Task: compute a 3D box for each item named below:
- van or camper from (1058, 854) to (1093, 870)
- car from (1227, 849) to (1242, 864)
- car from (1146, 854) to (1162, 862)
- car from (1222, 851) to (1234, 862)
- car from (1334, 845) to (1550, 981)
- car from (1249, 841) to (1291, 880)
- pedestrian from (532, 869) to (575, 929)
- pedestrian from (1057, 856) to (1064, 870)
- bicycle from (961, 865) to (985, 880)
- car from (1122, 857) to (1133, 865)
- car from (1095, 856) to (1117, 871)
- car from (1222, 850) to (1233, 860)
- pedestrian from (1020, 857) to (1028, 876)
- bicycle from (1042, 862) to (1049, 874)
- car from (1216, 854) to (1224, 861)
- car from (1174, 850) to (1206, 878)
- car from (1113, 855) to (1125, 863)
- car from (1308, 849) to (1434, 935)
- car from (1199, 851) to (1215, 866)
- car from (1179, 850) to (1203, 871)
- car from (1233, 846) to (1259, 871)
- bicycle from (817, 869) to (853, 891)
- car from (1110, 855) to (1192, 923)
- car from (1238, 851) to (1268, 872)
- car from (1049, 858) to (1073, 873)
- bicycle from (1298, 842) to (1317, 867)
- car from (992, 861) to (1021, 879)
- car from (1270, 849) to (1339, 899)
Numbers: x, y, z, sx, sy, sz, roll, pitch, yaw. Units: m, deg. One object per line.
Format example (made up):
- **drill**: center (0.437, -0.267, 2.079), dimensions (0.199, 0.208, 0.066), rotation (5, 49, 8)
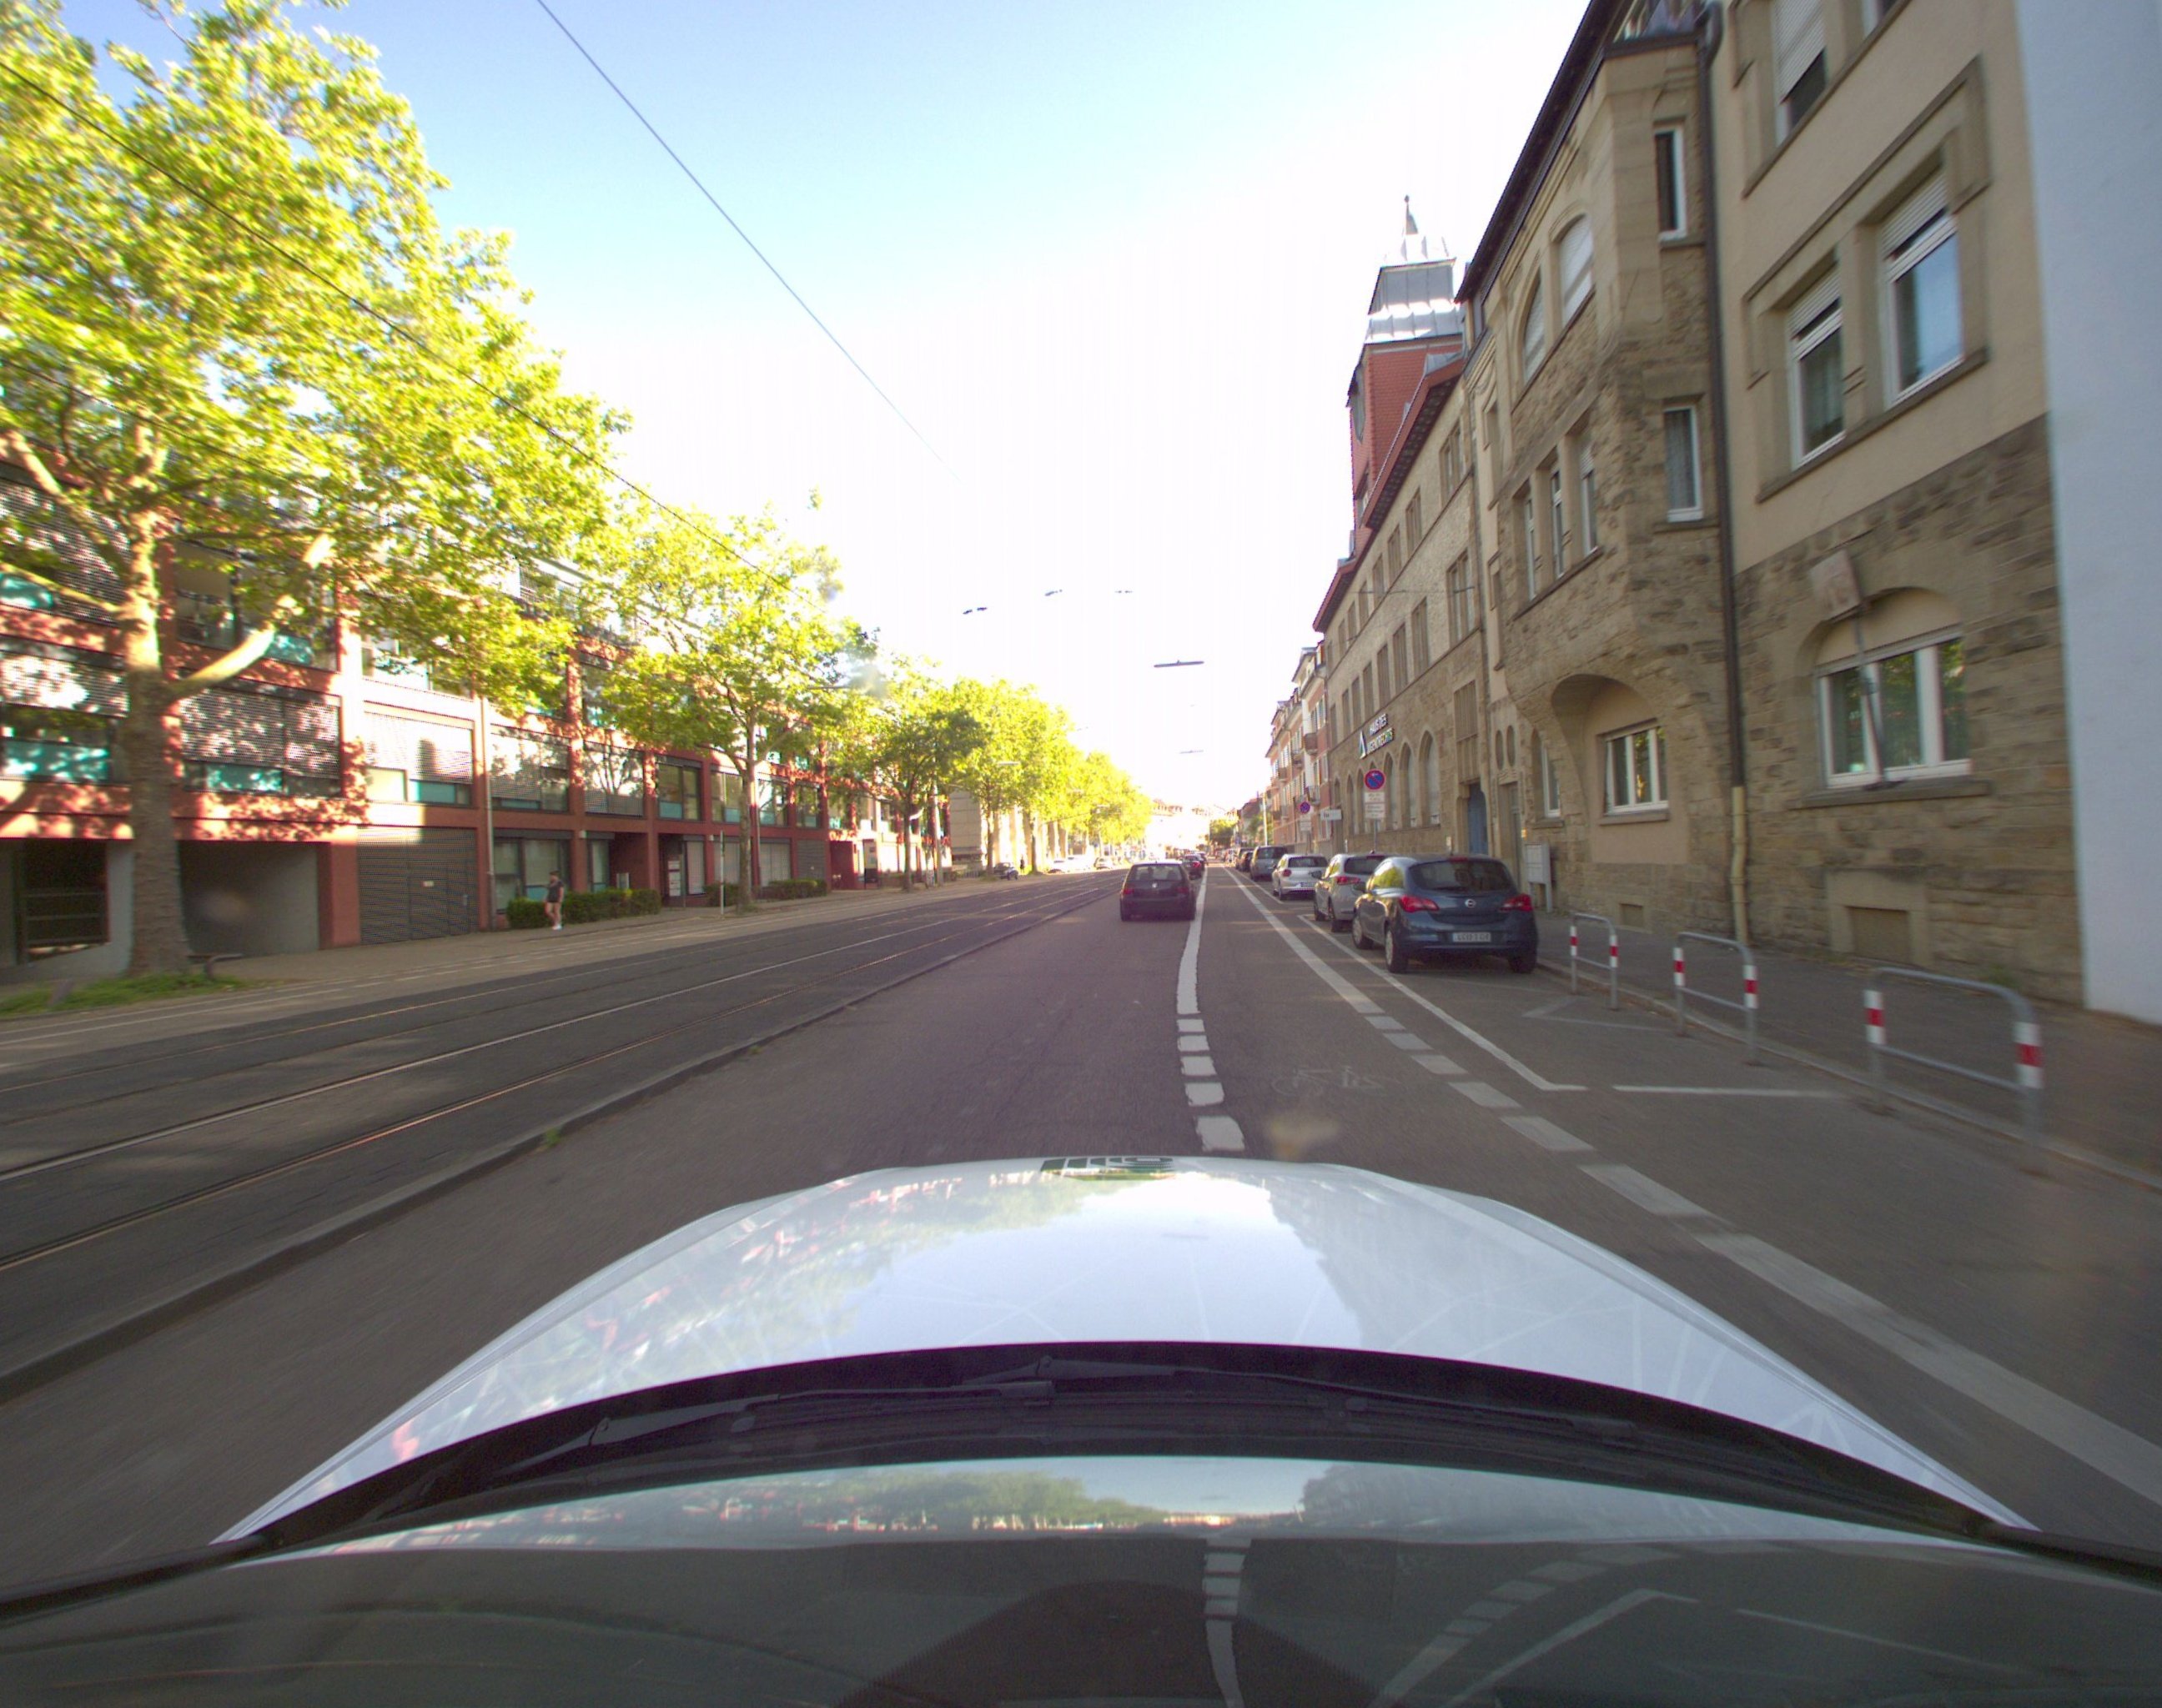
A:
- **van or camper**: center (-0.677, 1.004, 101.493), dimensions (2.041, 1.949, 5.221), rotation (-1, 0, 29)
- **car**: center (19.588, 0.261, 104.250), dimensions (1.748, 1.838, 3.556), rotation (-1, 0, 9)
- **car**: center (18.911, 1.140, 210.030), dimensions (3.967, 2.013, 2.003), rotation (-1, 0, 6)
- **car**: center (22.323, 0.396, 123.868), dimensions (1.651, 1.526, 4.046), rotation (-2, 0, 9)
- **car**: center (4.606, 0.664, 11.034), dimensions (1.645, 1.482, 4.010), rotation (-2, 0, 9)
- **car**: center (9.560, 0.311, 41.499), dimensions (1.742, 1.855, 4.828), rotation (-2, 0, 9)
- **pedestrian**: center (-15.670, 1.312, 24.217), dimensions (0.622, 1.718, 0.902), rotation (-1, 0, 8)
- **pedestrian**: center (-2.727, 1.197, 107.740), dimensions (0.792, 1.820, 0.672), rotation (-1, 0, 9)
- **bicycle**: center (-9.878, 1.698, 74.294), dimensions (1.996, 1.278, 0.666), rotation (-1, 0, 9)
- **car**: center (9.740, 1.496, 170.439), dimensions (1.873, 1.669, 3.813), rotation (-1, 0, 8)
- **car**: center (2.983, 1.131, 97.001), dimensions (1.741, 1.518, 4.086), rotation (-4, -1, 13)
- **car**: center (26.290, 0.163, 146.203), dimensions (1.807, 1.799, 4.010), rotation (-2, 0, 9)
- **pedestrian**: center (-5.715, 1.234, 81.564), dimensions (0.784, 1.870, 0.669), rotation (-1, 0, -6)
- **bicycle**: center (-3.703, 1.493, 85.774), dimensions (0.578, 1.209, 1.655), rotation (-1, 0, 3)
- **car**: center (32.063, 0.757, 187.461), dimensions (1.658, 1.598, 3.659), rotation (-2, 0, 9)
- **car**: center (6.664, 0.578, 49.502), dimensions (1.738, 1.537, 3.902), rotation (-3, 0, 9)
- **car**: center (7.111, 0.859, 151.468), dimensions (1.782, 1.465, 3.845), rotation (0, 0, 9)
- **car**: center (5.693, 0.672, 16.489), dimensions (1.742, 1.501, 4.208), rotation (-1, 0, 10)
- **car**: center (13.745, 0.462, 89.032), dimensions (1.626, 1.472, 3.739), rotation (-2, 0, 9)
- **car**: center (8.977, 0.511, 66.399), dimensions (1.738, 1.537, 3.902), rotation (-3, 0, 9)
- **car**: center (13.959, 0.346, 69.066), dimensions (1.693, 1.810, 4.280), rotation (-8, -1, 7)
- **bicycle**: center (-15.122, 1.591, 50.006), dimensions (2.049, 1.272, 0.620), rotation (0, 1, 10)
- **car**: center (1.801, 0.771, 19.819), dimensions (1.739, 1.375, 4.009), rotation (-3, 0, 8)
- **car**: center (12.808, 0.531, 60.861), dimensions (1.744, 1.511, 4.772), rotation (-1, 0, 7)
- **car**: center (-2.234, 1.312, 91.233), dimensions (2.000, 1.572, 4.703), rotation (-1, 0, 8)
- **bicycle**: center (10.852, 0.011, 39.070), dimensions (0.512, 1.139, 2.264), rotation (-4, 0, 8)
- **car**: center (-6.105, 1.325, 67.293), dimensions (1.498, 1.454, 3.472), rotation (-2, -1, 10)
- **car**: center (7.214, 0.607, 26.592), dimensions (1.703, 1.501, 4.237), rotation (-1, 0, 9)
